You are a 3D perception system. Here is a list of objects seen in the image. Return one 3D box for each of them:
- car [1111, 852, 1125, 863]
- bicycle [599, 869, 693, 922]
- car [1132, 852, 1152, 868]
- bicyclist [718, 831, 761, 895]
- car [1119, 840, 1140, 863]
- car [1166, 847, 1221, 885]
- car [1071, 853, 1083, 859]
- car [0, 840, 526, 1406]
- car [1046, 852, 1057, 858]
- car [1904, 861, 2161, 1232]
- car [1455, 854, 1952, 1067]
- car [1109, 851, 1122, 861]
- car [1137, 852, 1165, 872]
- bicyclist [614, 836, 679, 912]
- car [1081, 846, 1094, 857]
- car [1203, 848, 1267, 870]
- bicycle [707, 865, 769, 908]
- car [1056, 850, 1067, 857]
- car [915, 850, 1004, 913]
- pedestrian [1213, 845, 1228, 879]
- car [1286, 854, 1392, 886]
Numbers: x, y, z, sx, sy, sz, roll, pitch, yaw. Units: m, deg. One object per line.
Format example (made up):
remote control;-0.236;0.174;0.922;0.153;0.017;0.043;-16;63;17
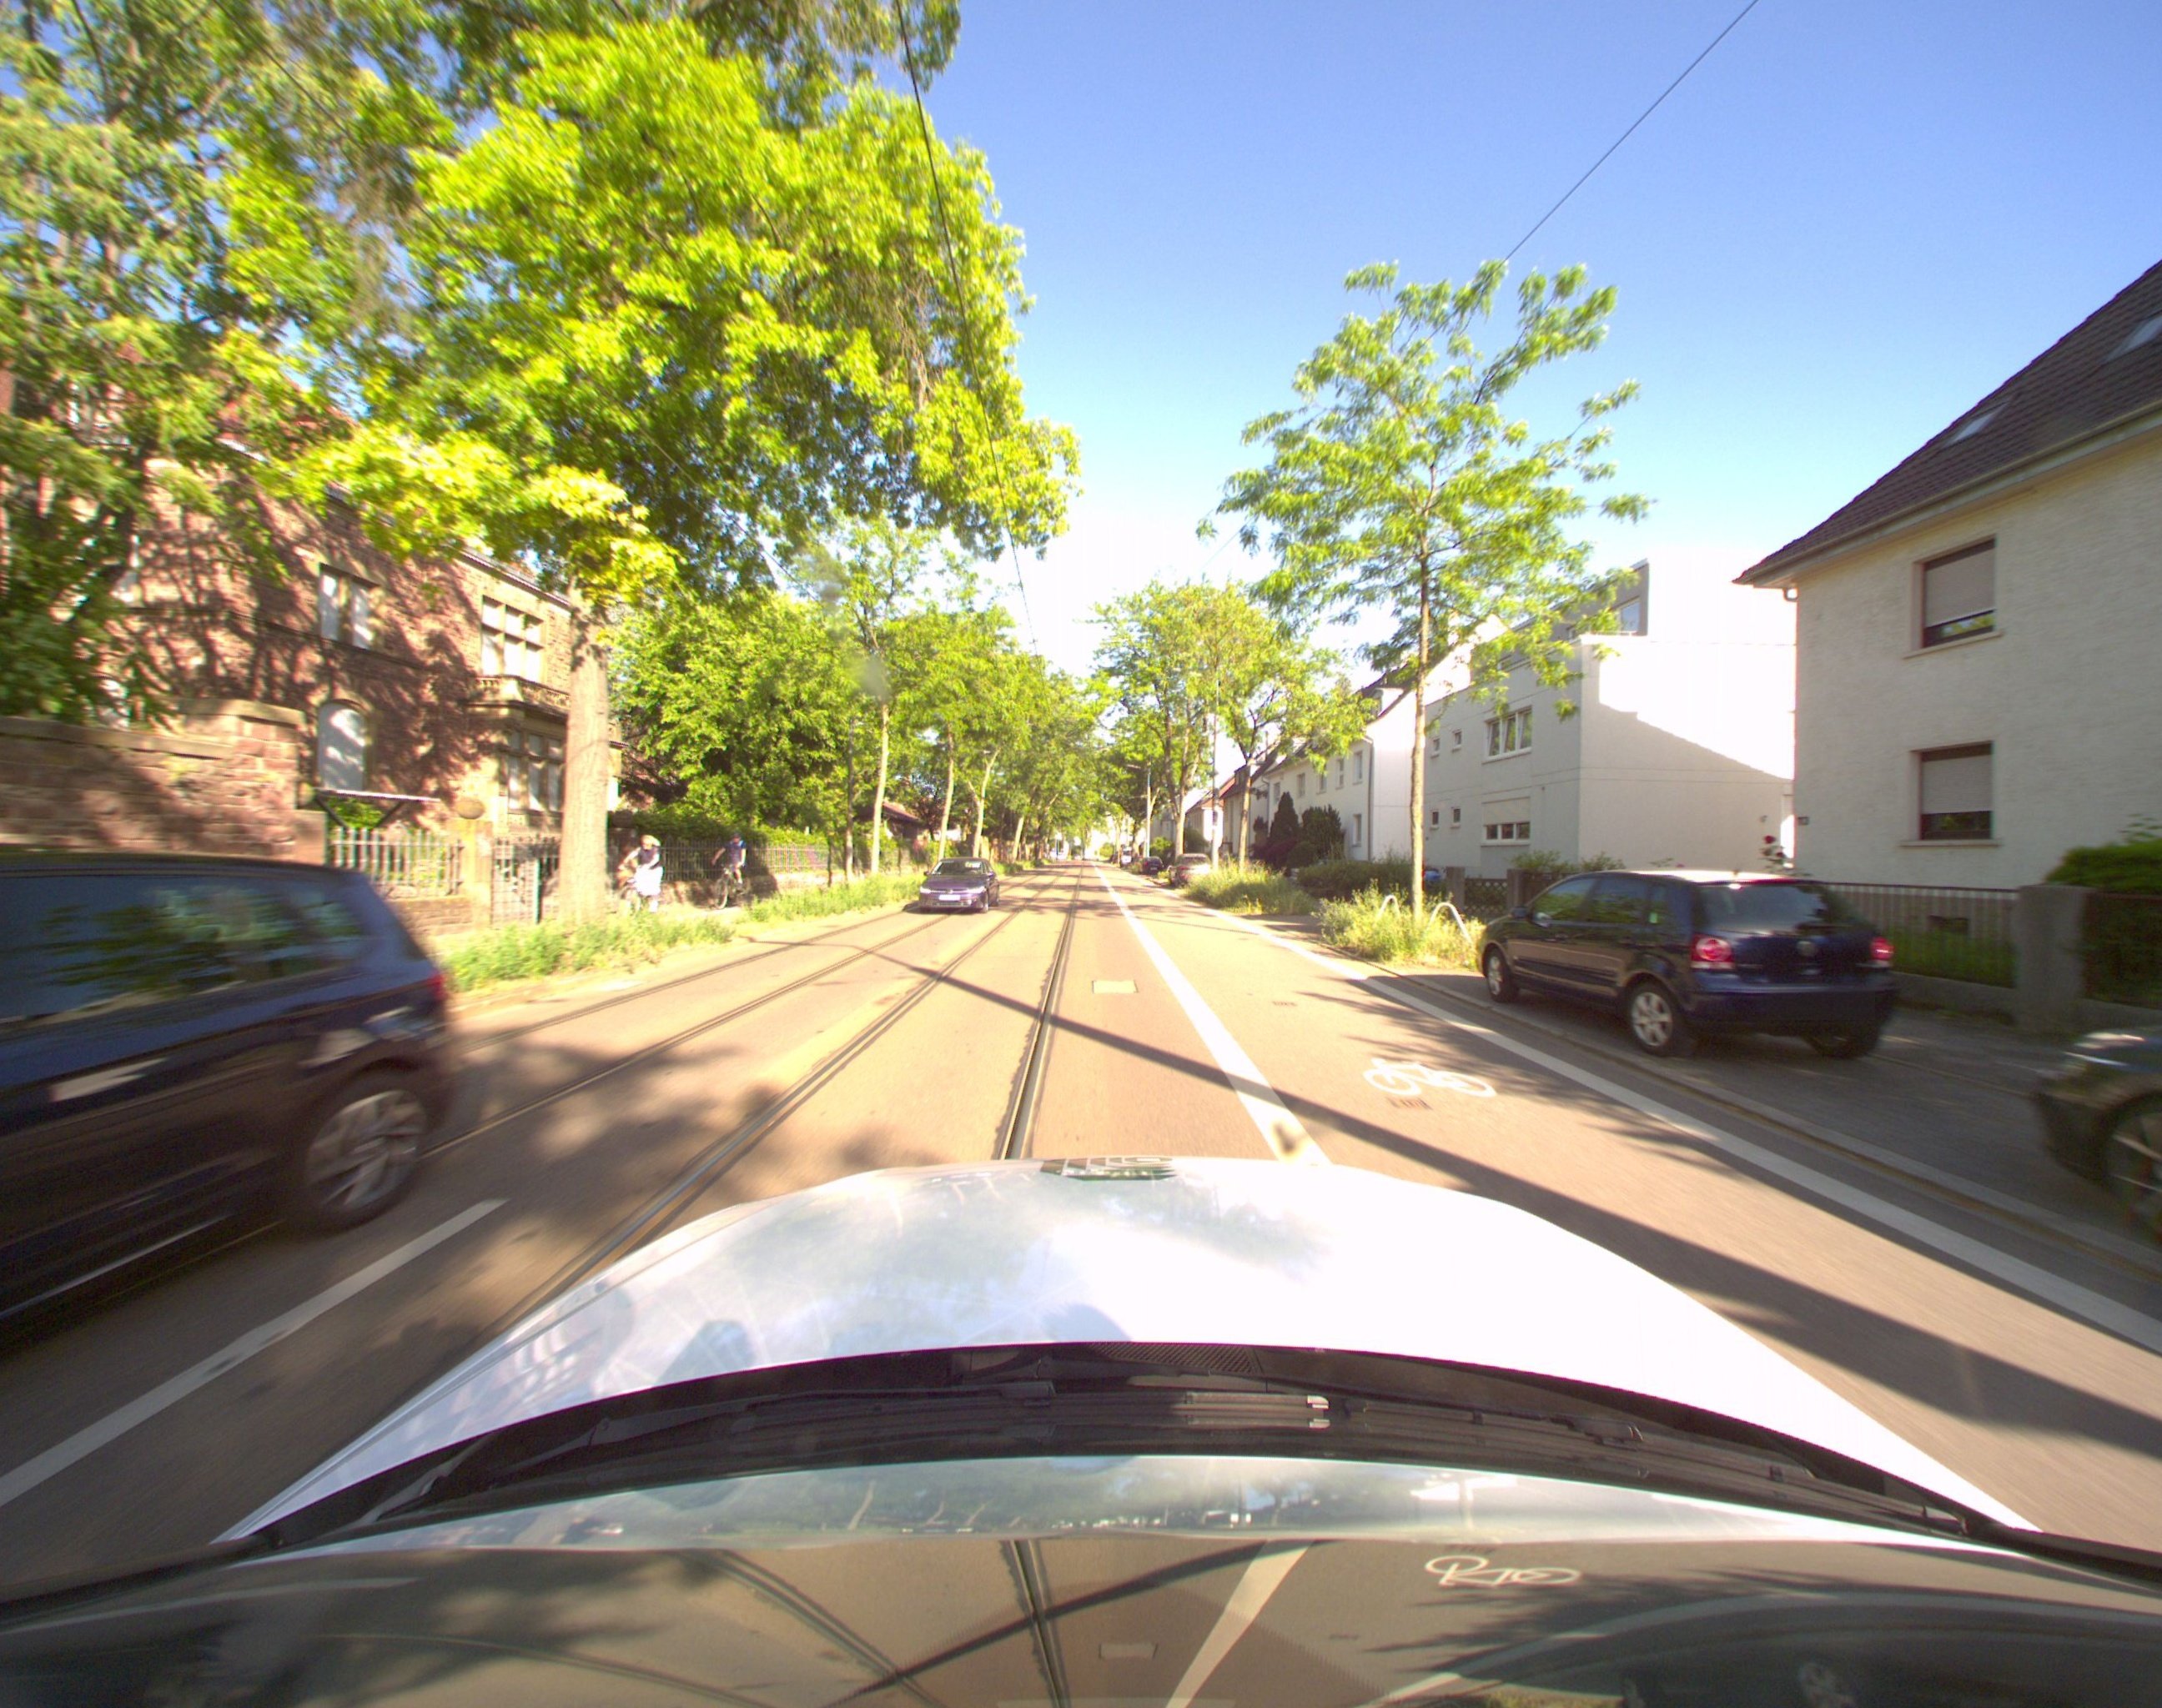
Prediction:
car;5.898;0.532;129.804;1.996;1.675;4.392;-1;0;0
bicycle;-8.679;0.802;16.361;0.708;0.960;2.095;1;0;1
car;5.690;0.532;76.272;1.622;1.397;3.645;-2;0;0
bicyclist;-8.473;0.214;20.258;0.591;1.527;1.061;1;0;1
car;5.807;-0.336;97.929;2.238;2.654;5.585;-1;0;0
car;5.479;0.546;40.074;1.987;1.704;4.476;-2;0;-1
car;-0.998;0.434;201.120;2.004;1.560;4.374;0;0;-12
car;-3.785;0.717;2.205;1.743;1.524;4.035;1;0;0
car;-9.107;0.234;250.918;2.008;1.910;4.366;-1;0;-17
car;5.259;0.793;2.140;1.743;1.495;4.443;0;0;0
car;5.351;0.757;7.796;1.743;1.495;3.996;0;0;0
car;6.257;0.366;147.332;1.994;1.675;4.397;-1;0;4
car;5.681;0.629;66.695;1.779;1.448;4.299;-2;0;-1
bicyclist;-8.674;0.385;16.300;0.705;1.470;1.042;1;0;1
car;1.386;-0.640;183.453;1.995;2.458;4.489;0;0;-13
car;11.313;0.368;60.064;4.403;1.489;1.860;-2;0;2
bicycle;-8.477;0.779;20.227;0.587;0.960;2.133;1;0;1
car;-4.524;-0.176;188.716;1.868;1.675;4.153;0;0;-14
car;-3.182;0.673;22.073;1.743;1.524;4.070;1;0;0
pedestrian;7.748;0.438;45.265;0.623;1.870;0.732;-2;0;-1
car;11.161;0.681;35.427;4.038;1.342;1.877;0;0;0
